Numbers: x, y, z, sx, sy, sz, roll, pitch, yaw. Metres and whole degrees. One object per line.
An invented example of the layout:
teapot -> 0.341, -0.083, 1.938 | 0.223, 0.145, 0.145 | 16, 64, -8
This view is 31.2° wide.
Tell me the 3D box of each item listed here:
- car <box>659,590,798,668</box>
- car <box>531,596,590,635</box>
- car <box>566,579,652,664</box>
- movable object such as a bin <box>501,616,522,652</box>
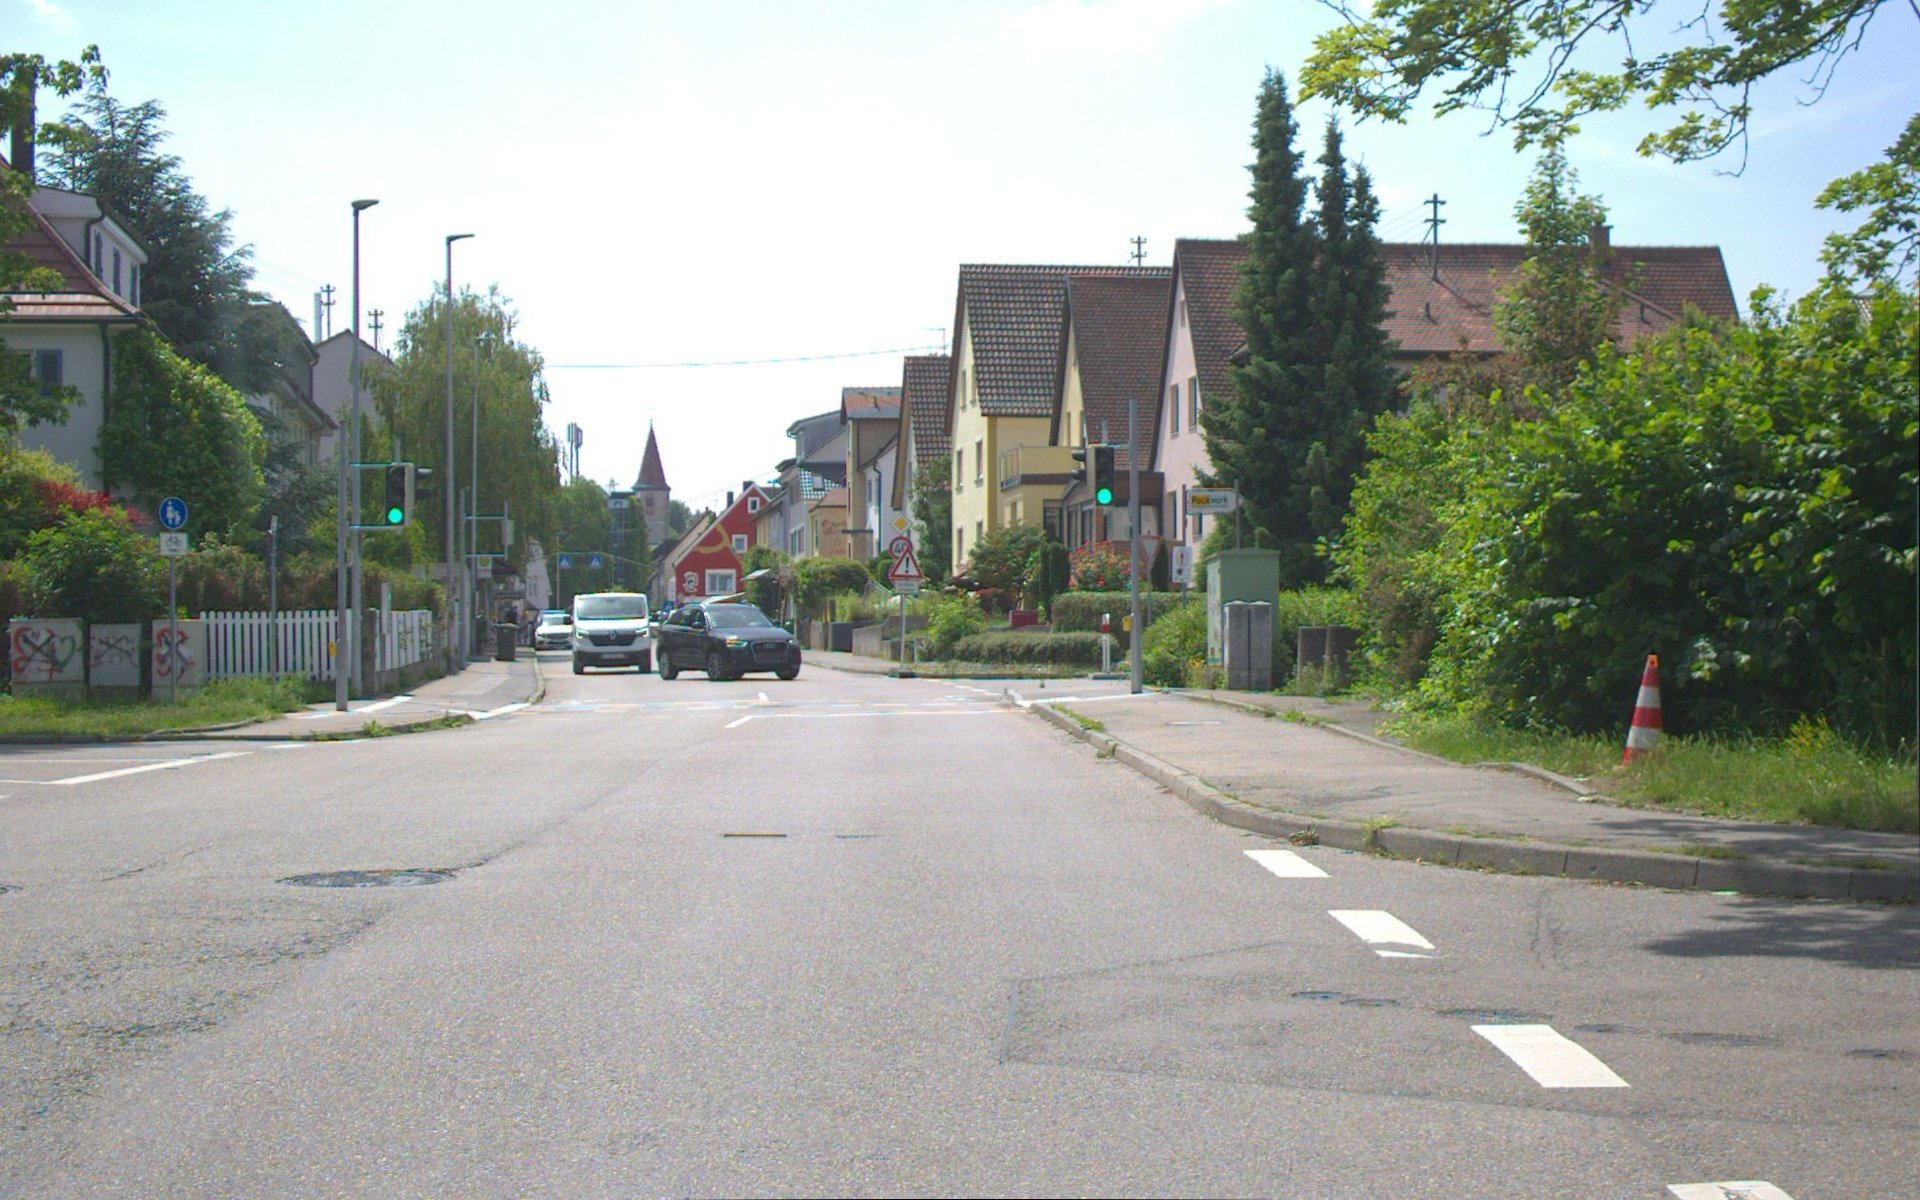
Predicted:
car -> -4.874, 0.586, 71.824 | 1.534, 1.536, 4.306 | -1, 1, -23
car -> -16.438, 0.610, 141.688 | 2.110, 1.555, 4.314 | -1, 0, -3
car -> -8.621, 0.541, 84.152 | 1.879, 1.958, 4.903 | -2, -1, -7
movable object such as a bin -> -13.058, 0.990, 100.116 | 0.607, 1.042, 0.725 | 1, 1, -7
